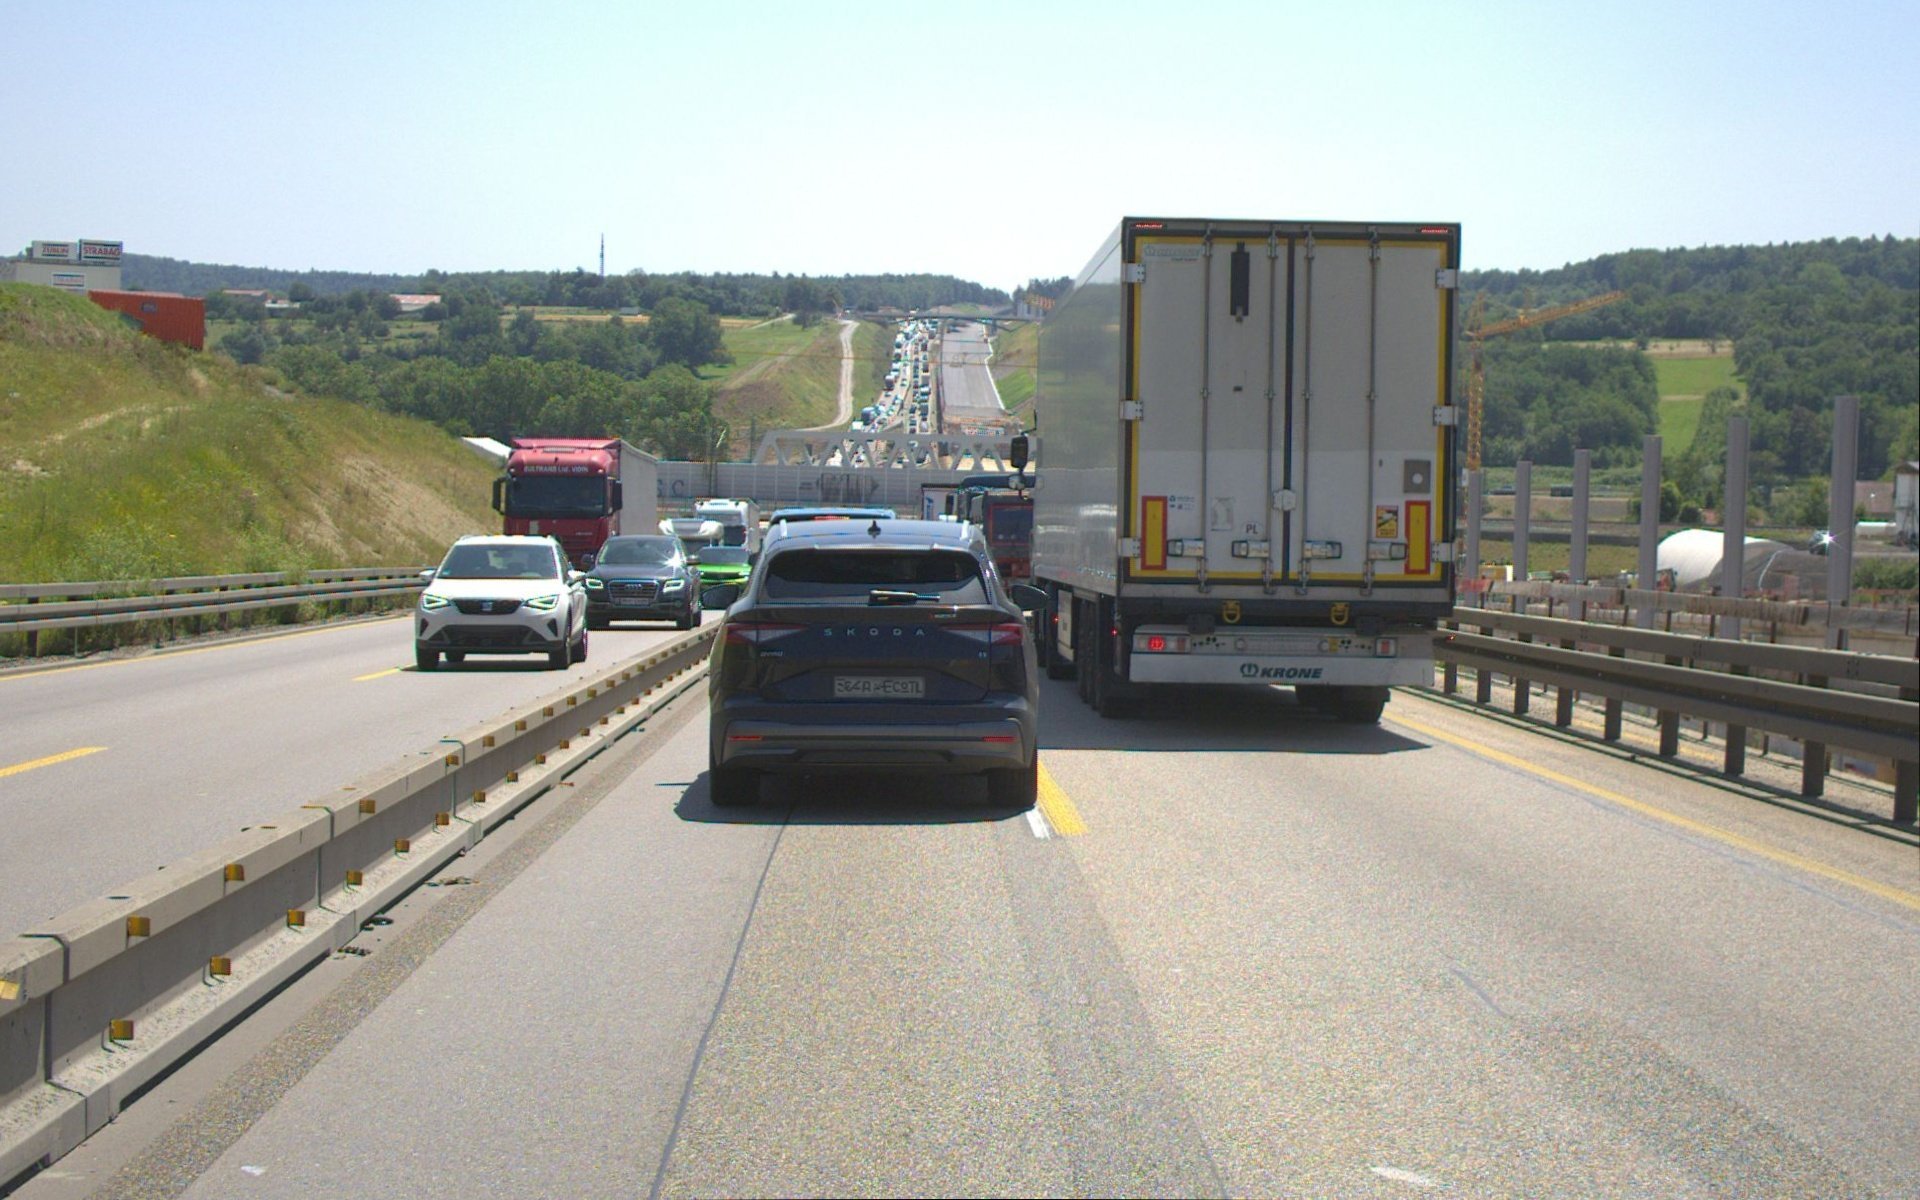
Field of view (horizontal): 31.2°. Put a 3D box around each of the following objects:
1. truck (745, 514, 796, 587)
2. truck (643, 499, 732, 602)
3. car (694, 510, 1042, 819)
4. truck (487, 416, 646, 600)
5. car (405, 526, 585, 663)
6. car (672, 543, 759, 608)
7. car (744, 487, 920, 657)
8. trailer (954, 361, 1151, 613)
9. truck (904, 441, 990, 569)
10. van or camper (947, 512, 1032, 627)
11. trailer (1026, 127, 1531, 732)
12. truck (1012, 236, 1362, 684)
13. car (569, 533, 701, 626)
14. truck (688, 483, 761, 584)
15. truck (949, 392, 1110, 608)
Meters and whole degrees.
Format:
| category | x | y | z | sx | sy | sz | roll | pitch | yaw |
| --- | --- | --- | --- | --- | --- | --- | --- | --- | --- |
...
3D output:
| category | x | y | z | sx | sy | sz | roll | pitch | yaw |
| --- | --- | --- | --- | --- | --- | --- | --- | --- | --- |
| truck | -11.912 | -3.055 | 217.161 | 2.852 | 4.323 | 11.918 | 1 | 0 | -2 |
| truck | -10.608 | -1.848 | 134.877 | 2.852 | 3.769 | 11.918 | 1 | 0 | -2 |
| car | -0.504 | 0.326 | 20.046 | 1.802 | 1.602 | 4.000 | 1 | 0 | -1 |
| truck | -9.541 | -2.102 | 84.512 | 2.852 | 4.125 | 11.918 | 1 | 0 | -2 |
| car | -5.395 | -0.098 | 40.300 | 1.792 | 1.513 | 3.999 | 0 | 1 | -3 |
| car | -5.809 | -0.594 | 82.071 | 1.861 | 1.471 | 4.000 | 1 | 1 | -2 |
| car | -1.531 | -0.313 | 41.709 | 1.993 | 1.919 | 4.508 | 1 | 0 | -1 |
| trailer | 1.662 | -2.008 | 69.443 | 3.180 | 4.498 | 14.967 | 1 | 0 | -1 |
| truck | -0.559 | -3.482 | 130.193 | 2.852 | 4.450 | 11.918 | 1 | 0 | -2 |
| van or camper | 0.893 | -0.864 | 101.726 | 2.389 | 3.269 | 6.468 | 1 | 0 | 1 |
| trailer | 2.523 | -1.424 | 32.418 | 3.180 | 4.497 | 13.110 | 1 | 1 | -1 |
| truck | 2.361 | -1.507 | 38.927 | 3.180 | 4.497 | 8.166 | 1 | 1 | -1 |
| car | -5.565 | -0.367 | 59.261 | 1.993 | 1.525 | 4.000 | 0 | 1 | -2 |
| truck | -10.789 | -2.968 | 158.499 | 2.852 | 4.323 | 11.918 | 1 | 0 | -2 |
| truck | 1.450 | -2.098 | 76.630 | 3.180 | 4.498 | 8.166 | 1 | 0 | -1 |
